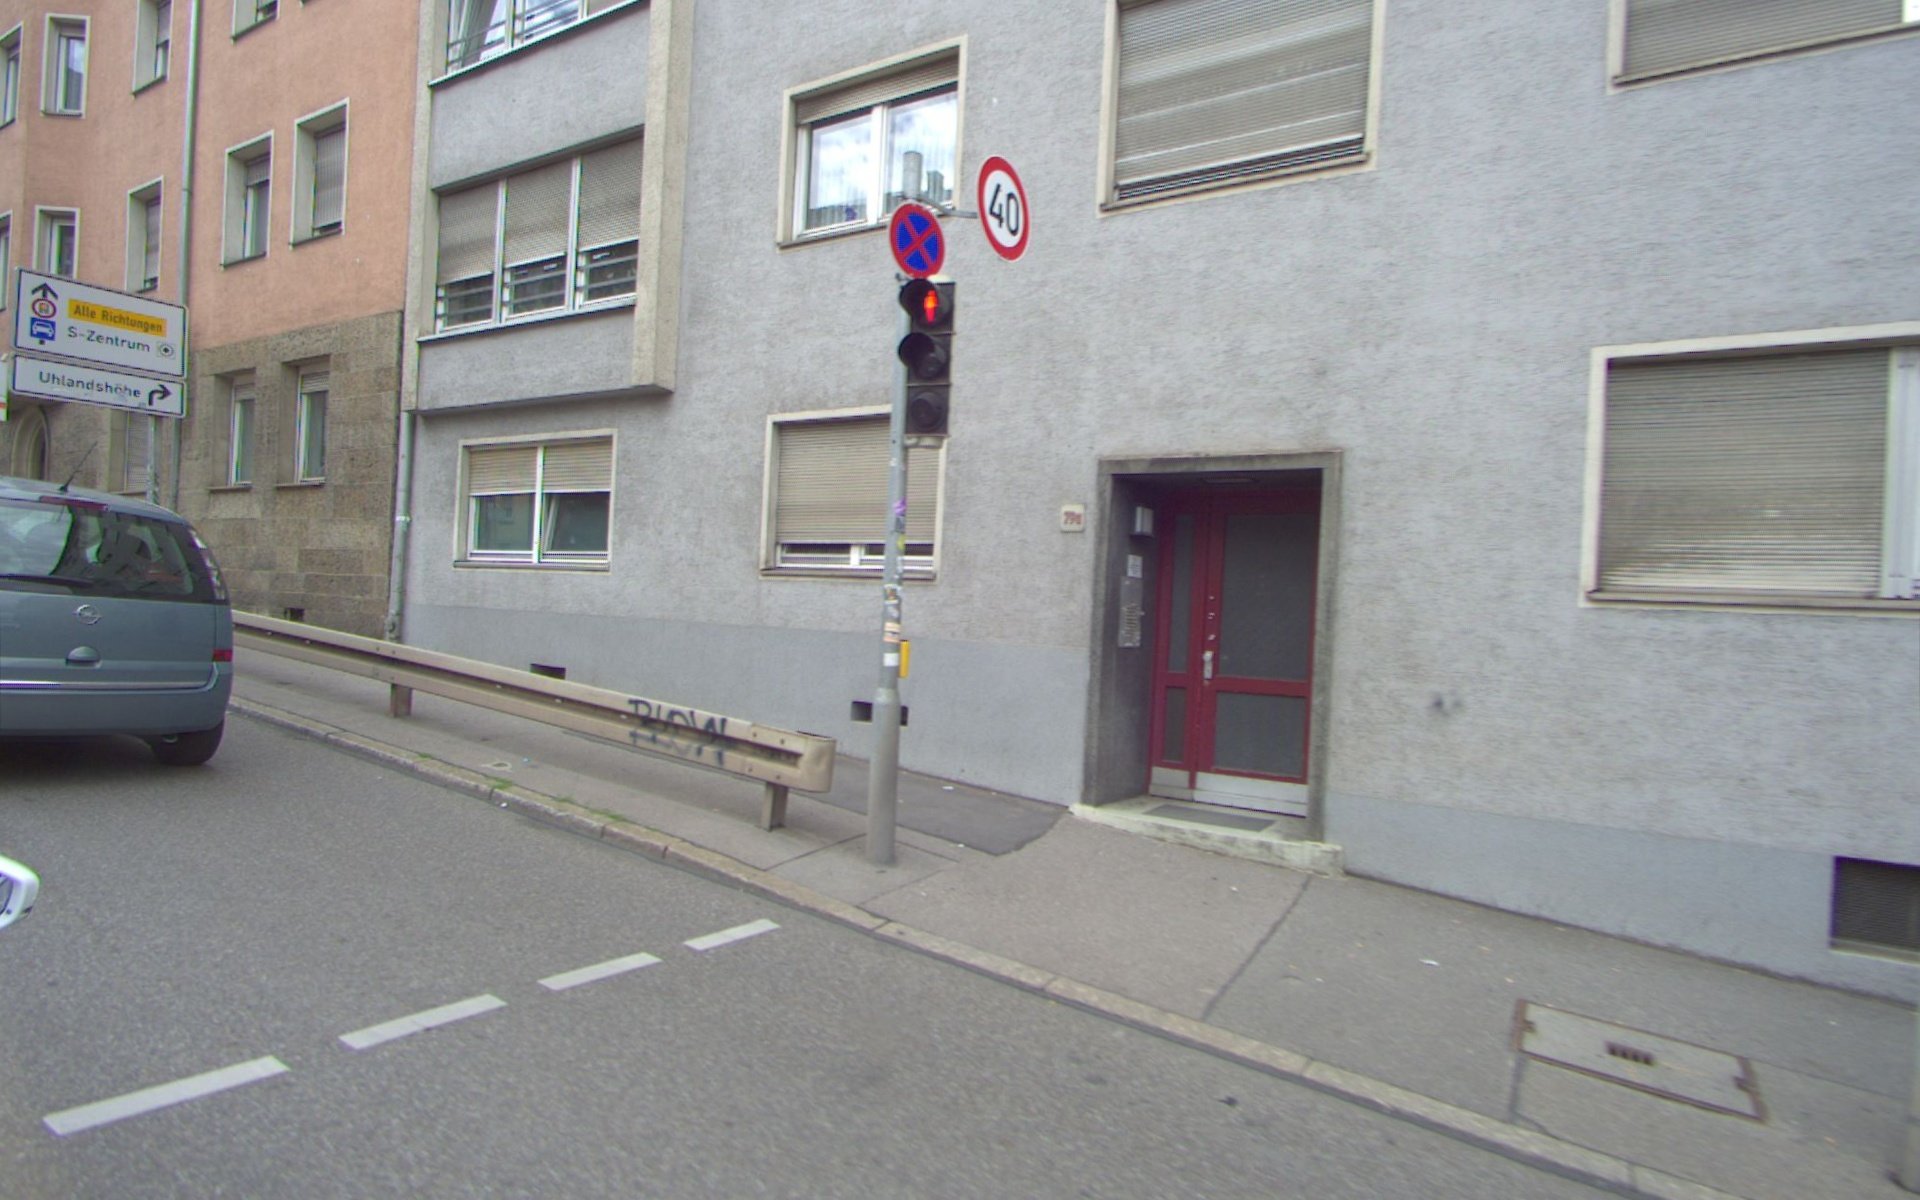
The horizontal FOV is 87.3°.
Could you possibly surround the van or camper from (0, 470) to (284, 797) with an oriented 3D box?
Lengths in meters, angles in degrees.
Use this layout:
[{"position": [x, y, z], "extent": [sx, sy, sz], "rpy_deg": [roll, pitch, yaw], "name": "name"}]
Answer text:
[{"position": [-6.032, 0.038, 6.116], "extent": [3.585, 1.597, 1.738], "rpy_deg": [6, -1, 31], "name": "van or camper"}]
